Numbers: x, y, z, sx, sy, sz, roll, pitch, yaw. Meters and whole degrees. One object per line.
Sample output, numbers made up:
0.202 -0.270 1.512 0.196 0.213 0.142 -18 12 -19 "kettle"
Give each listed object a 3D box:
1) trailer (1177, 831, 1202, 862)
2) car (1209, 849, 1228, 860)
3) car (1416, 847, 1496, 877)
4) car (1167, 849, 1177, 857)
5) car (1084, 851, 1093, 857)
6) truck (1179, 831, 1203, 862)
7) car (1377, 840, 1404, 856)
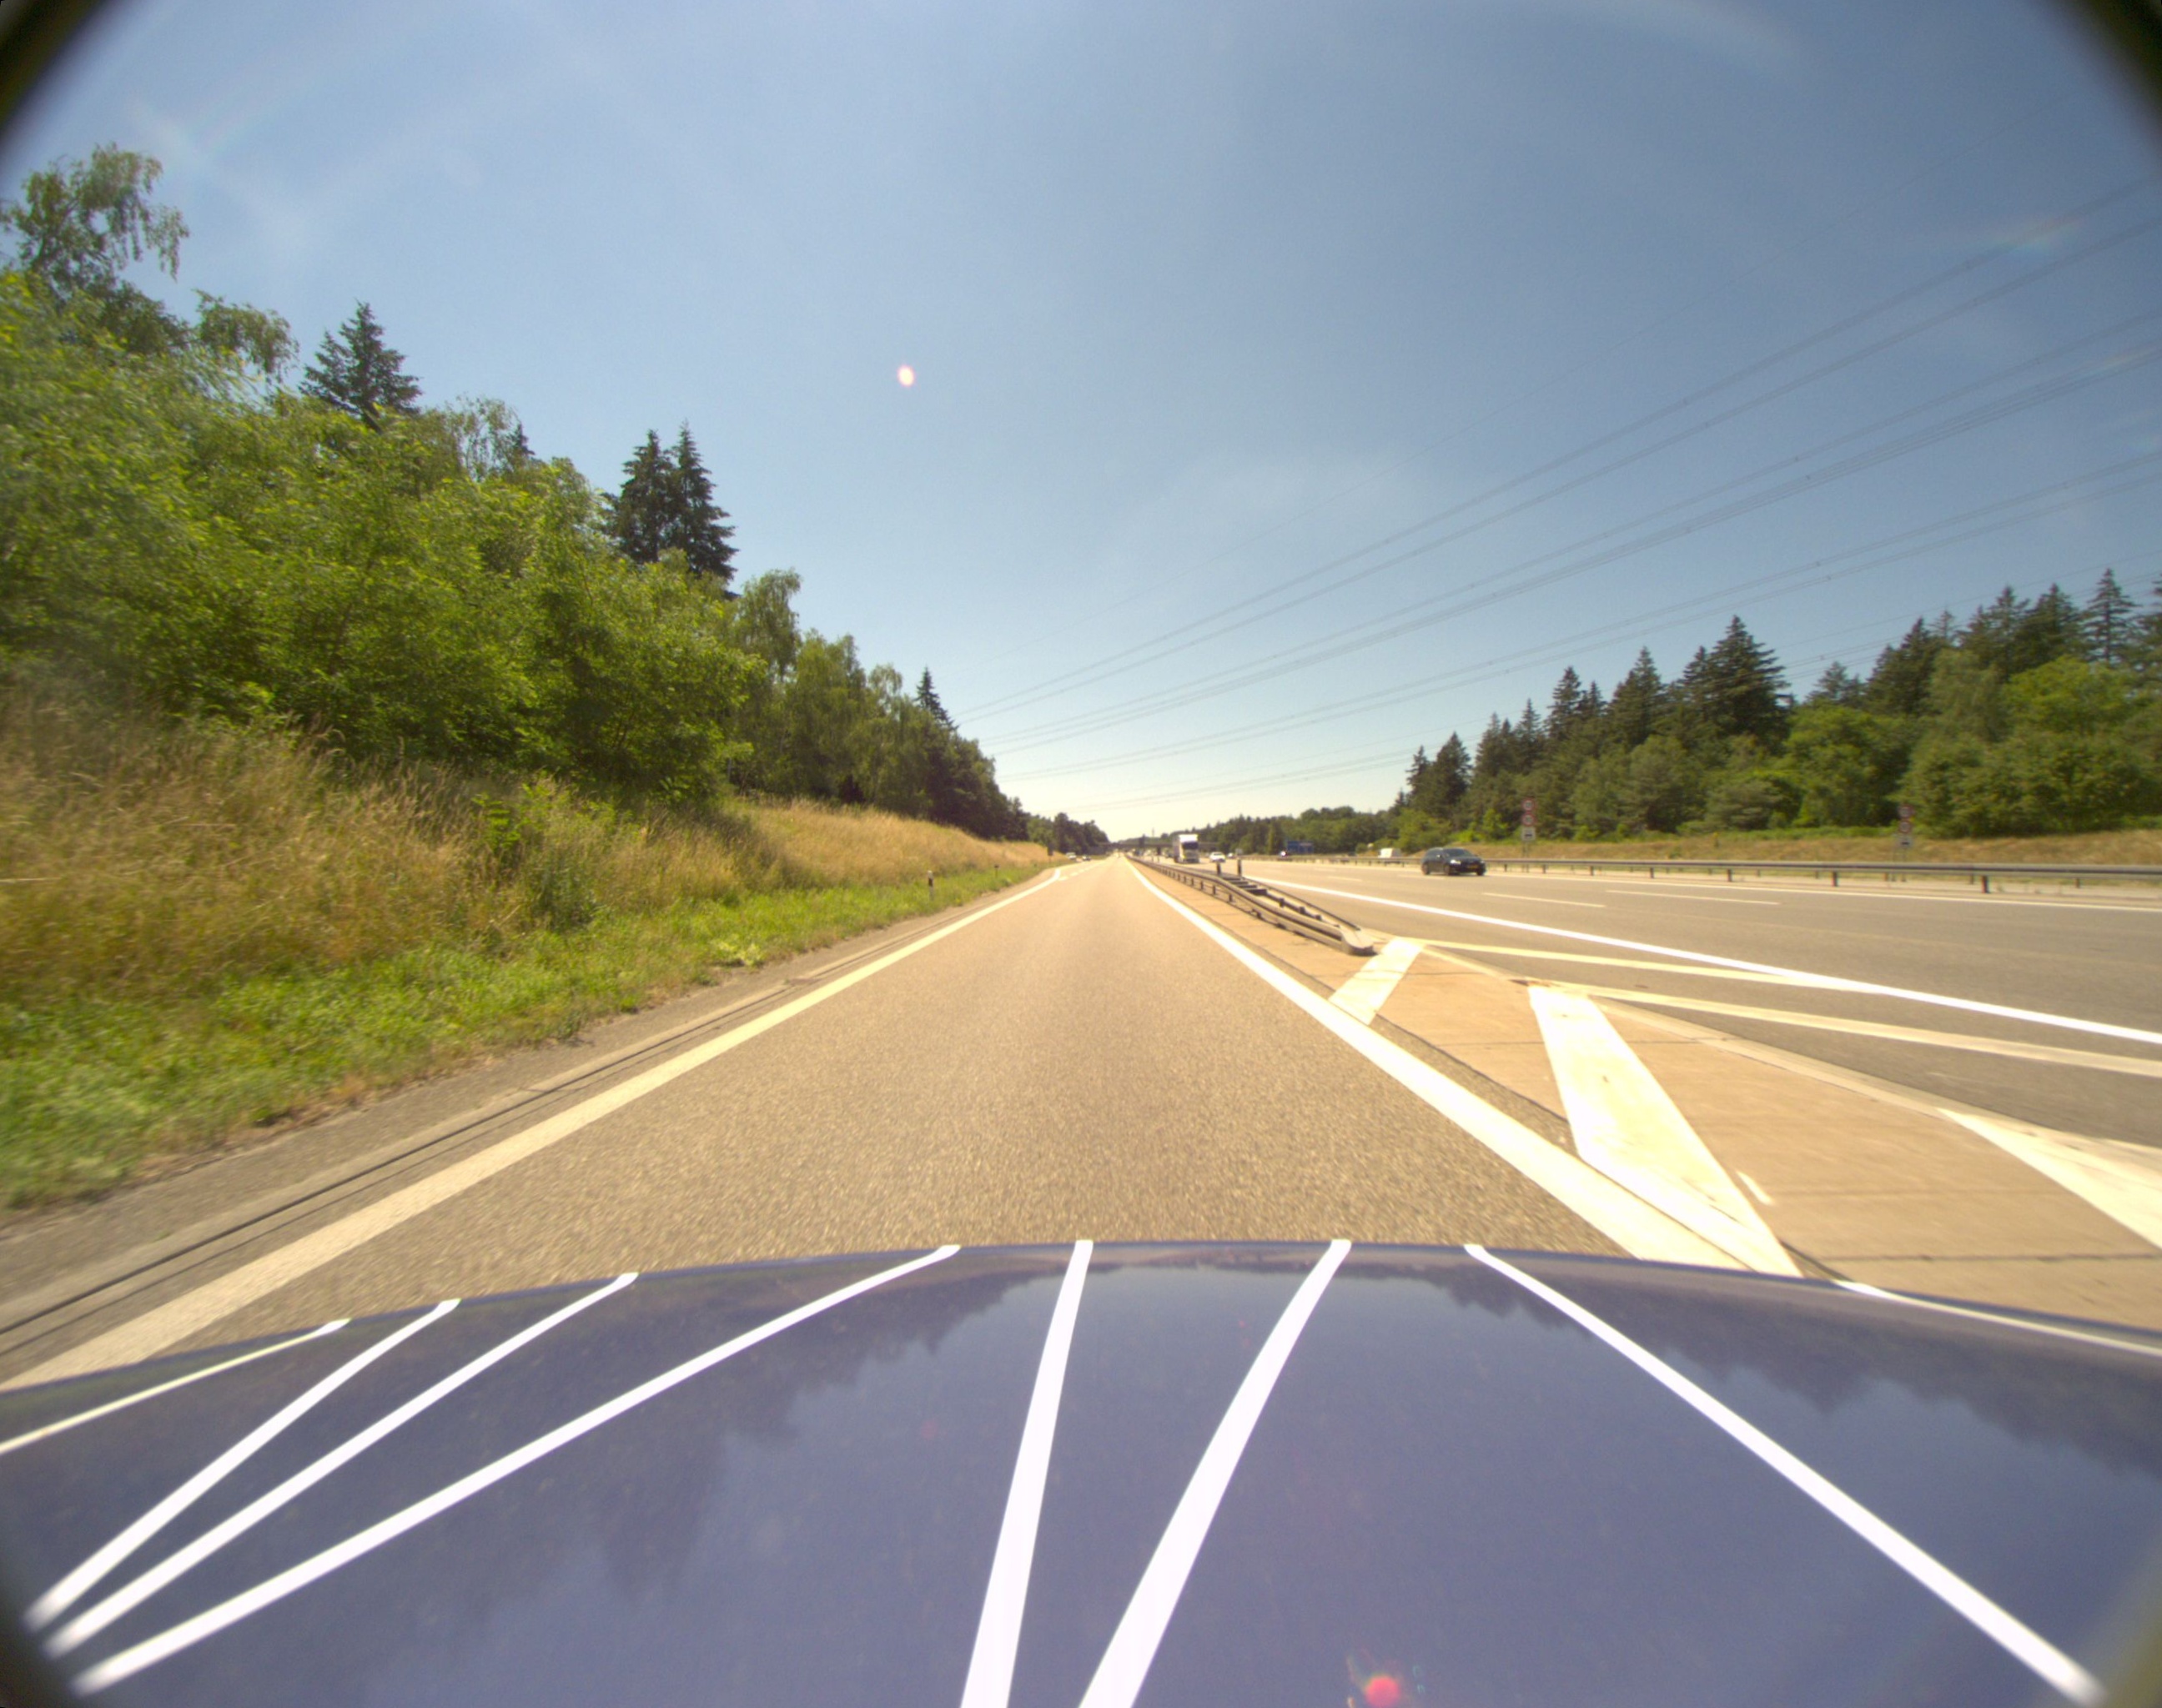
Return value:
15.560 -1.043 109.675 2.981 4.118 11.700 -1 0 5 "trailer"
19.781 0.079 109.331 1.968 1.495 5.405 -1 1 4 "car"
19.156 0.389 39.108 1.836 1.423 5.000 -2 0 3 "car"
25.708 -0.346 214.742 2.315 2.021 5.405 -1 1 4 "car"
2.027 0.020 195.467 1.898 1.417 4.262 -2 0 5 "car"
15.048 -1.037 104.338 2.979 4.118 5.351 -1 0 5 "truck"
52.911 -1.009 129.920 2.310 2.500 6.458 -1 0 3 "car"
